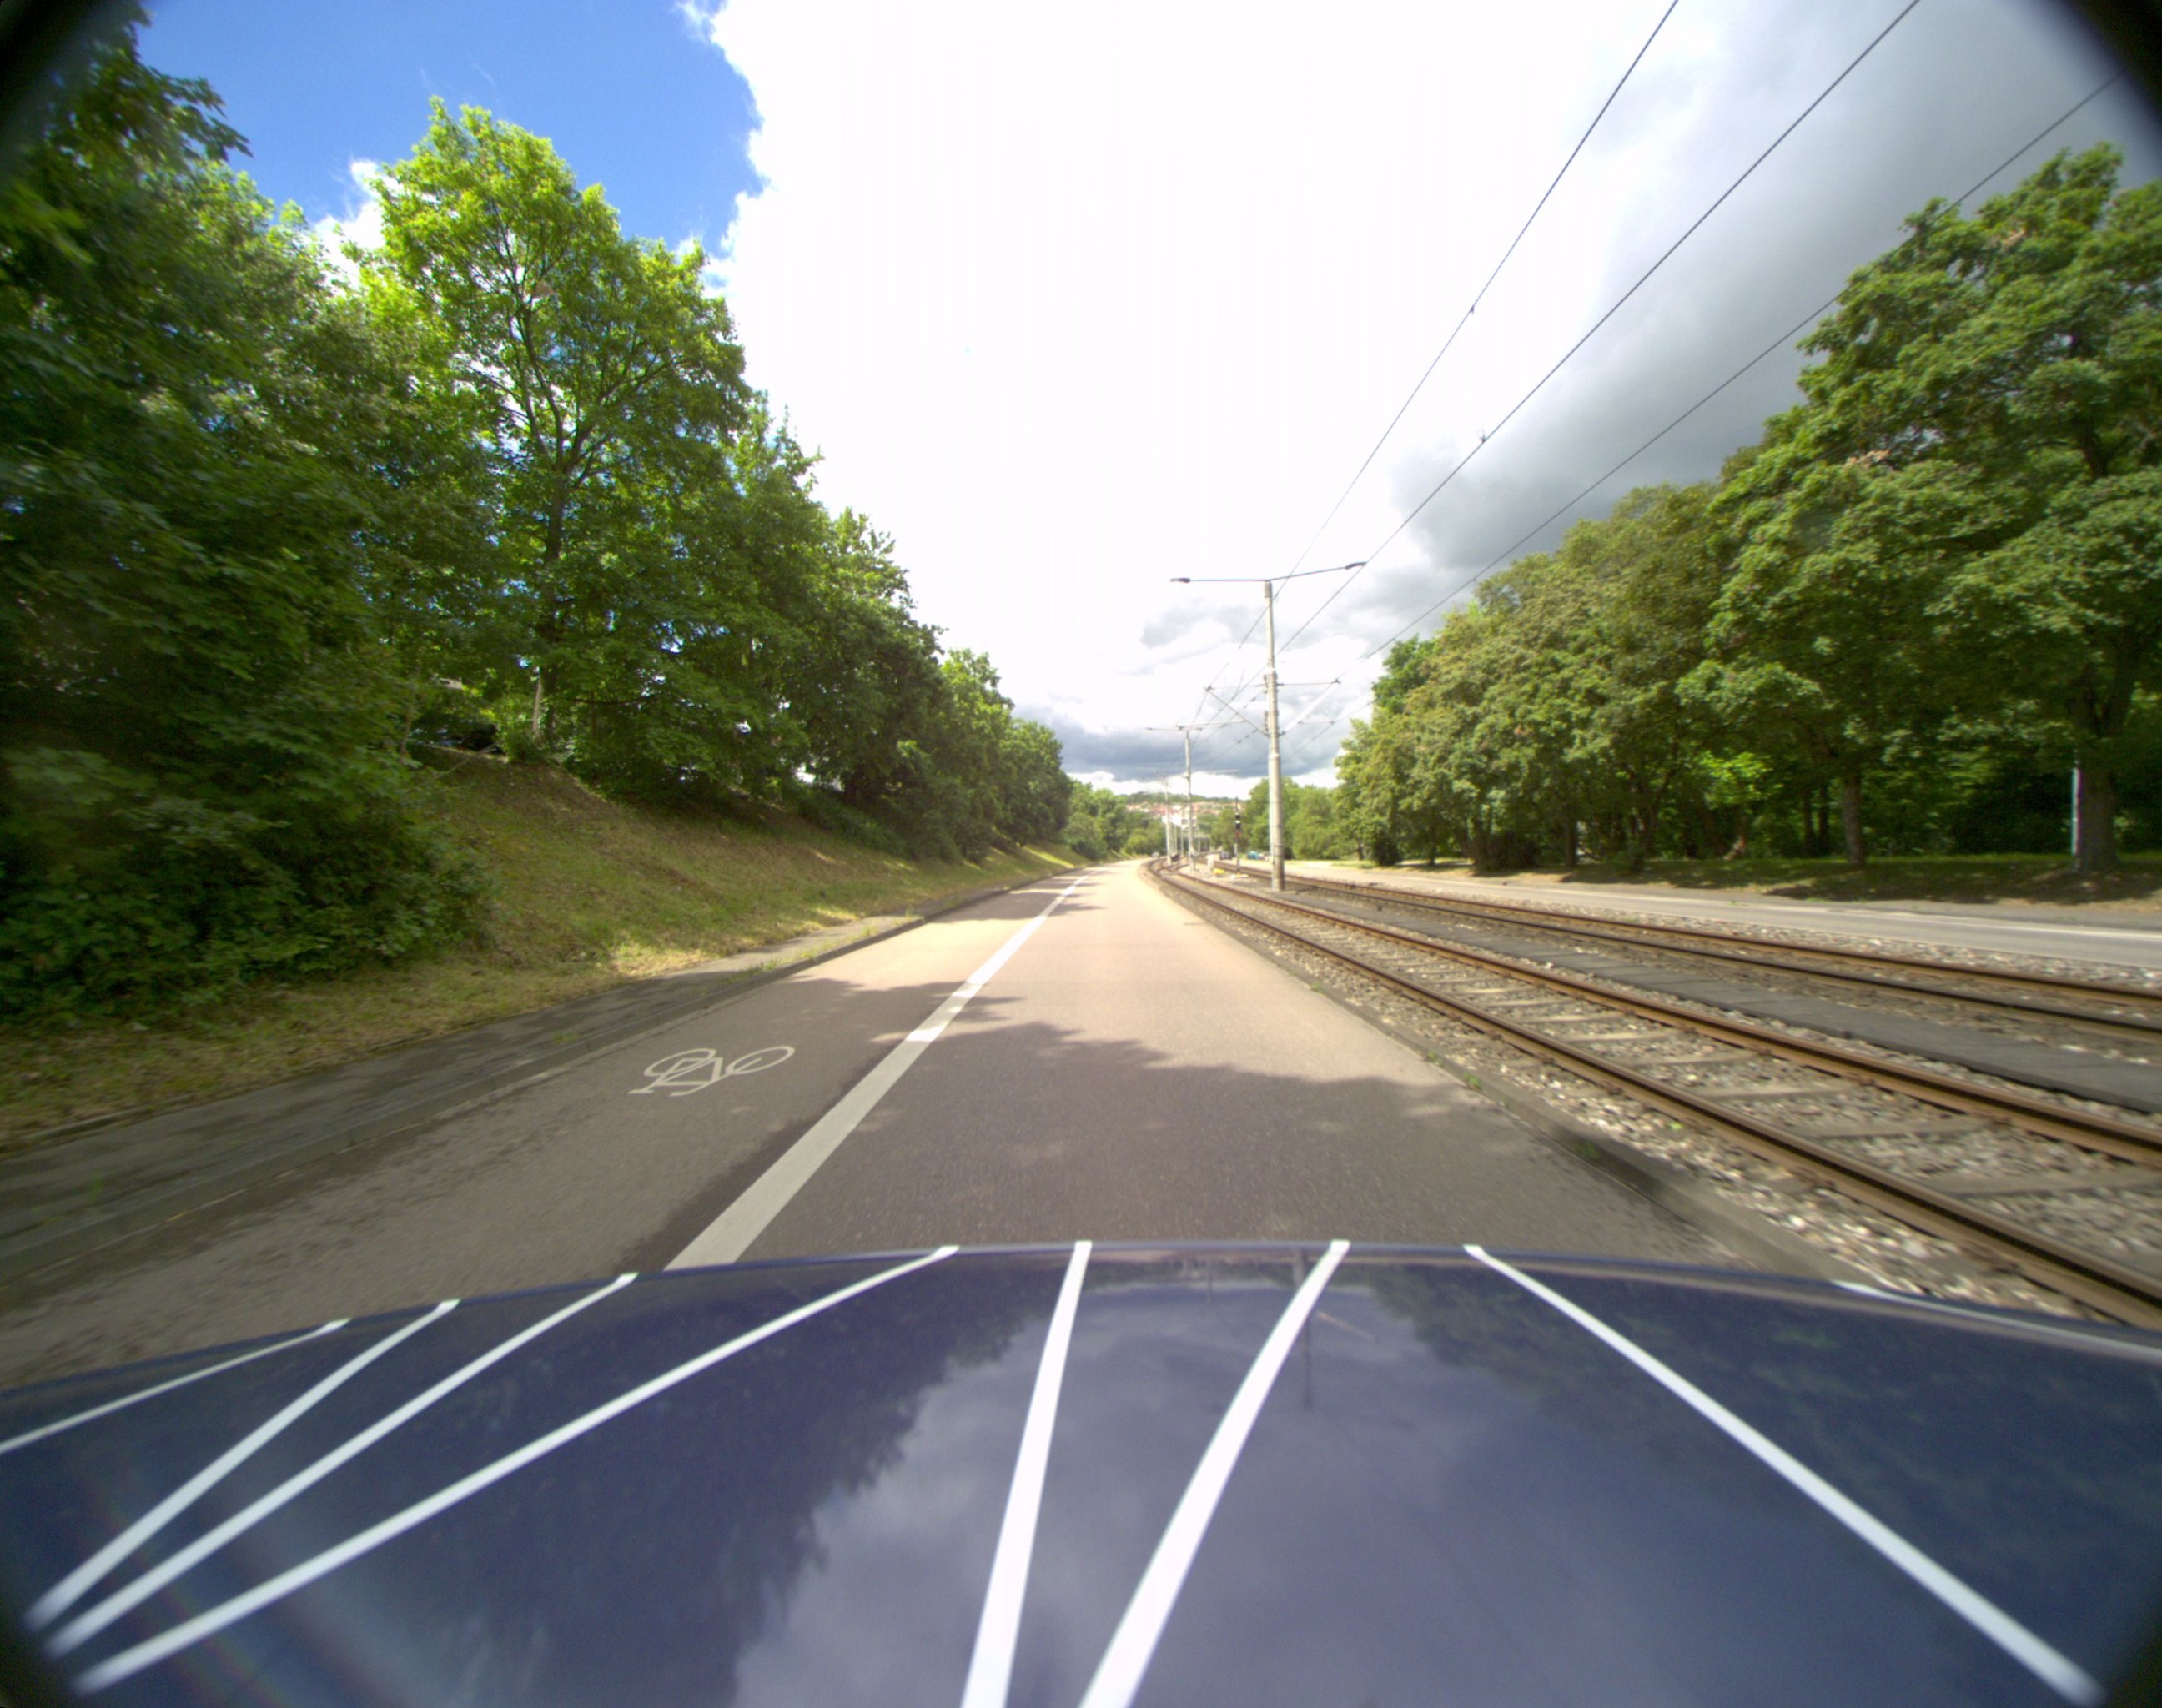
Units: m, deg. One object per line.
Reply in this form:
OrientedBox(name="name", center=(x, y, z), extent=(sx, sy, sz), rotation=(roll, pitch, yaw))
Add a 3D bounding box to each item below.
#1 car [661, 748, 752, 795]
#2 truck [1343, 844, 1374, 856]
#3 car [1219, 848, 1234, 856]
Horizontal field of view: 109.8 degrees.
OrientedBox(name="car", center=(-15.710, -3.425, 32.124), extent=(1.779, 1.490, 3.997), rotation=(-2, 0, 0))
OrientedBox(name="truck", center=(66.652, -0.904, 182.725), extent=(6.613, 2.839, 2.682), rotation=(1, 1, 11))
OrientedBox(name="car", center=(23.950, -0.360, 125.318), extent=(1.839, 1.383, 4.863), rotation=(0, 0, 5))
